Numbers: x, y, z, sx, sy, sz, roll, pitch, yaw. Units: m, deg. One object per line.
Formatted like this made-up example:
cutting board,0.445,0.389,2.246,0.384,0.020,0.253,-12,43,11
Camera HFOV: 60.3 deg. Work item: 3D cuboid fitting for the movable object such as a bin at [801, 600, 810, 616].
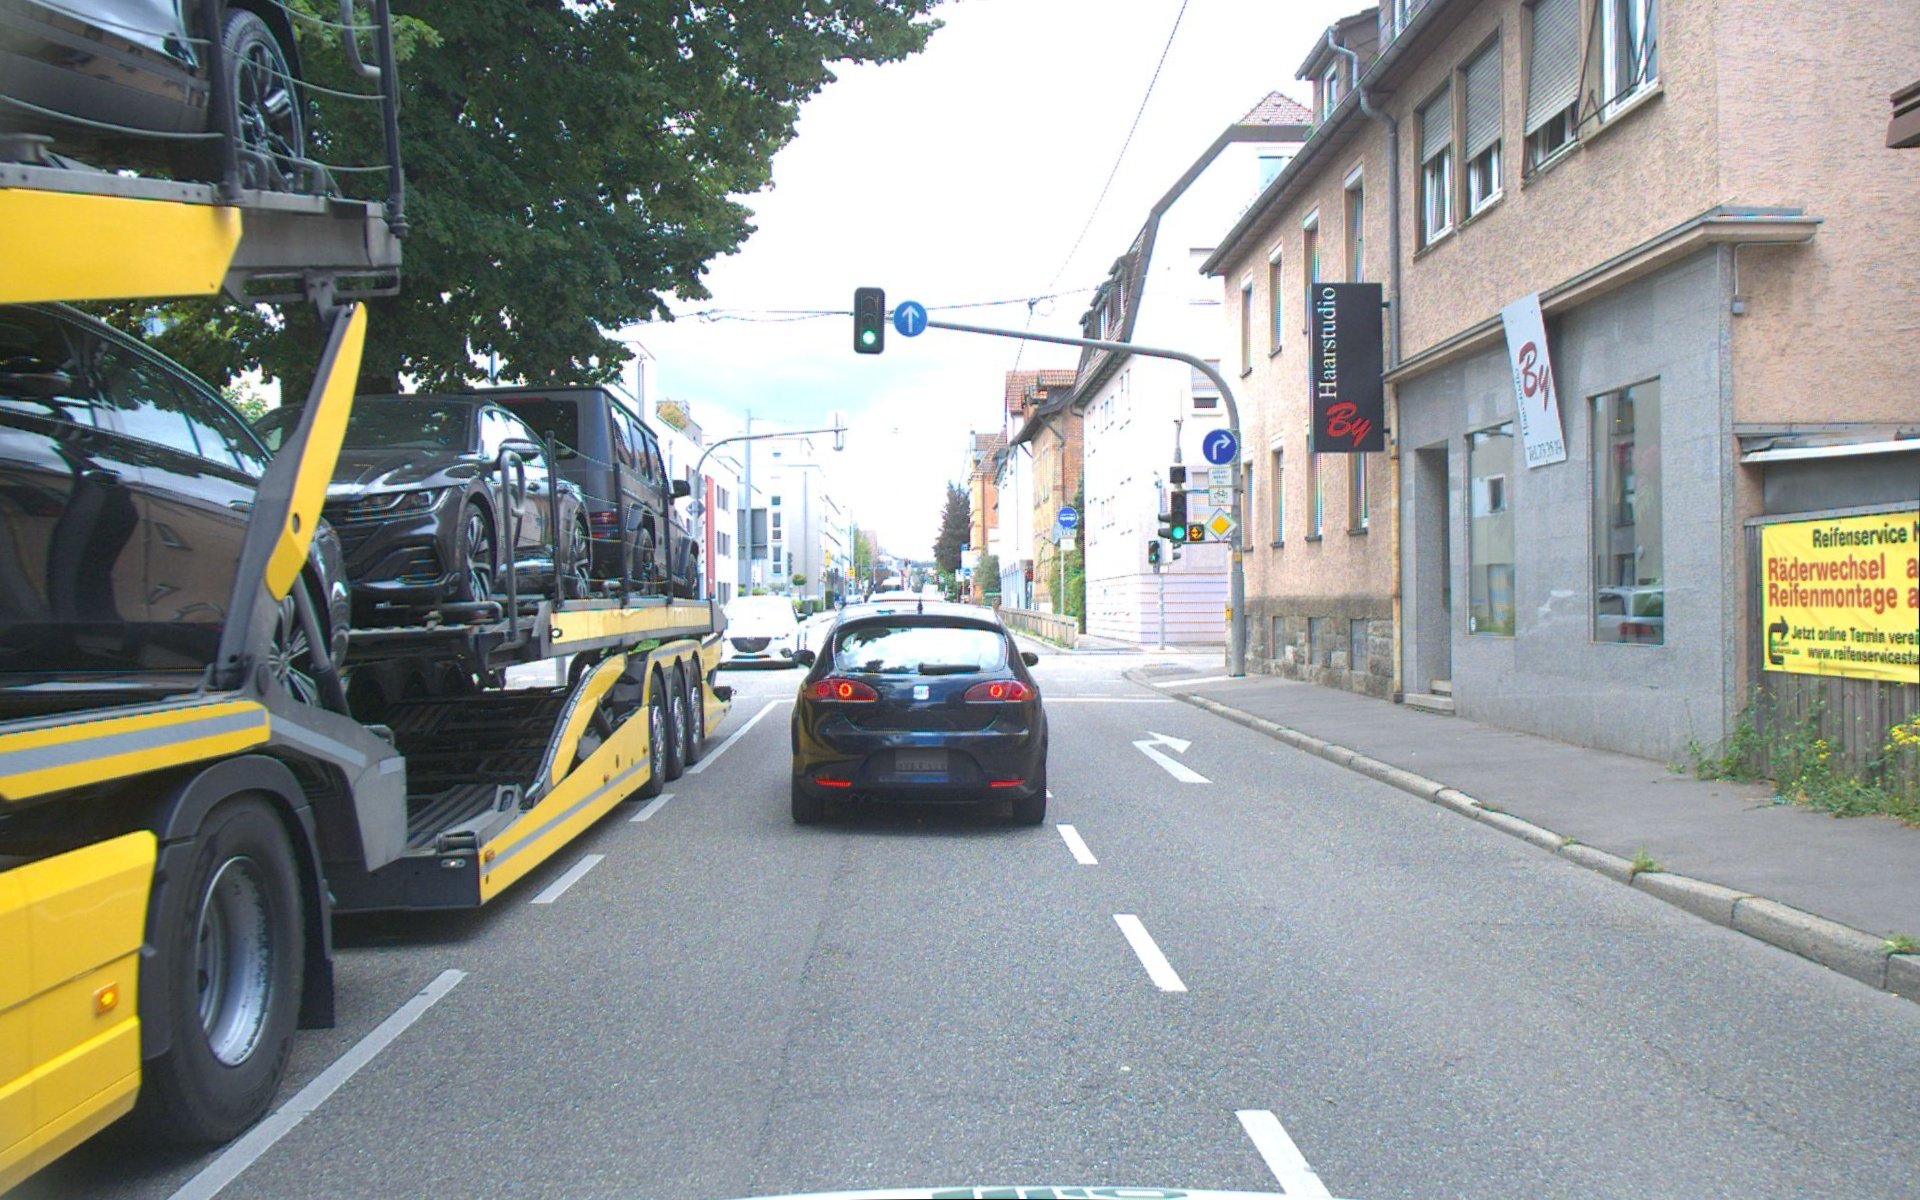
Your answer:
movable object such as a bin,-10.146,0.525,108.326,0.538,1.097,0.611,0,-1,-1

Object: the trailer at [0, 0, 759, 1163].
trailer,-3.486,-0.462,11.416,2.800,3.875,14.386,0,0,-2

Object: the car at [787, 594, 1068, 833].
car,-0.257,0.713,12.192,1.723,1.467,3.998,0,0,-2

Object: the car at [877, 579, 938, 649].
car,-1.360,0.358,42.741,1.501,1.723,3.691,0,0,-2

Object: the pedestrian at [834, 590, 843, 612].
pedestrian,-10.011,0.083,136.682,0.716,1.759,0.859,0,-1,-3

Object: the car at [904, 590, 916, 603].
car,-6.534,-0.446,214.727,1.501,1.722,3.691,-1,0,-2

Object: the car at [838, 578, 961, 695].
car,-0.963,0.550,26.484,1.805,1.723,3.998,0,0,-2

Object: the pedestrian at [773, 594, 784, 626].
pedestrian,-8.948,0.491,81.500,0.516,1.575,0.541,0,-1,-2

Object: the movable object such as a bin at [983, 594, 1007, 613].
movable object such as a bin,2.662,0.281,126.125,1.781,1.462,1.992,0,0,-1

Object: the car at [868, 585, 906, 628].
car,-3.009,0.257,68.485,1.501,1.723,3.691,0,0,-2

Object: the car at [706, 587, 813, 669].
car,-4.108,0.558,34.420,1.731,1.495,4.225,-3,0,-1

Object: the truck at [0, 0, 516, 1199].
truck,-3.292,-0.506,3.417,2.786,3.848,7.667,0,0,-1
